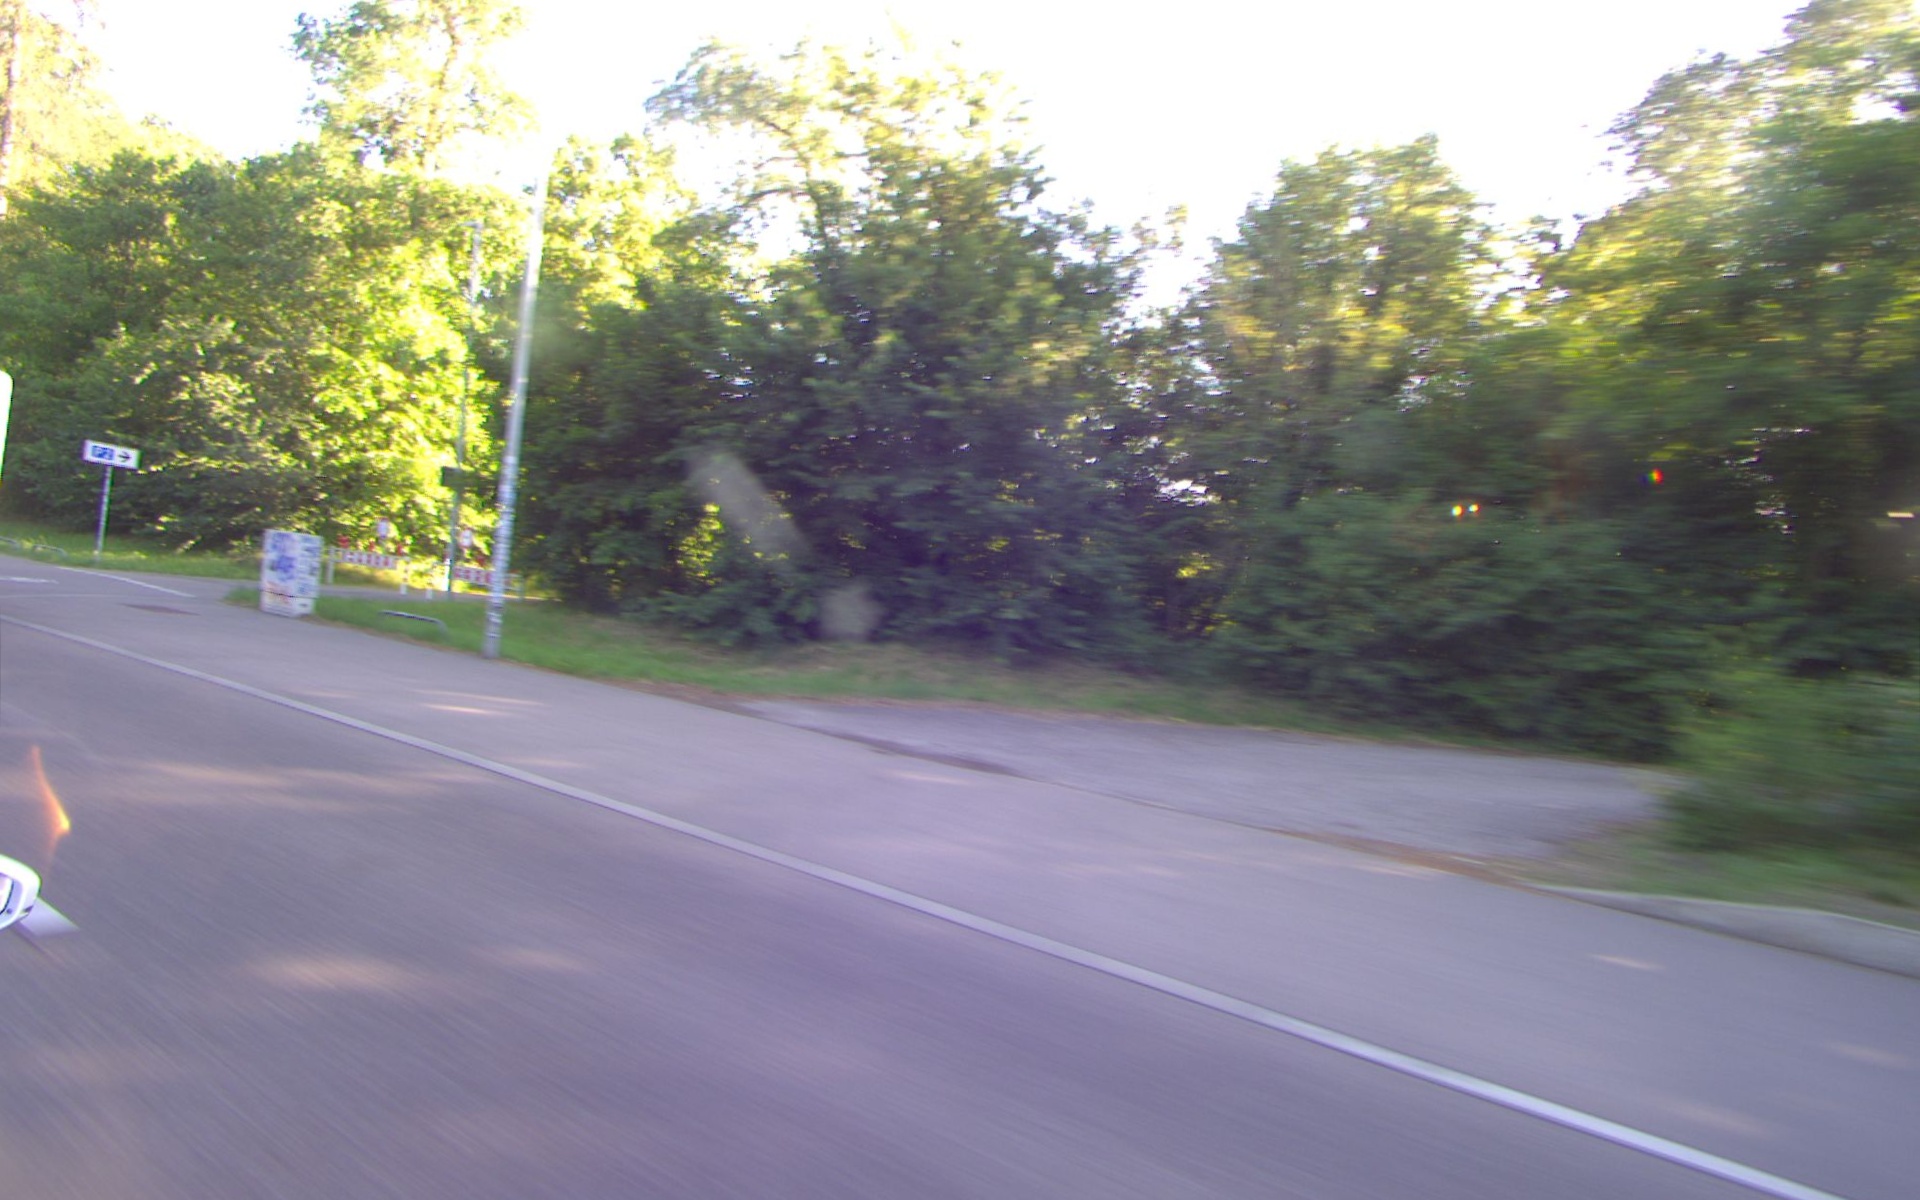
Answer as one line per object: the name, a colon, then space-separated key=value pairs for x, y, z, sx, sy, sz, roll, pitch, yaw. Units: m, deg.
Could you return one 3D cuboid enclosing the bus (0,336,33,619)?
bus: x=-16.171 y=-2.013 z=12.972 sx=11.838 sy=3.079 sz=2.694 roll=7 pitch=-1 yaw=30
